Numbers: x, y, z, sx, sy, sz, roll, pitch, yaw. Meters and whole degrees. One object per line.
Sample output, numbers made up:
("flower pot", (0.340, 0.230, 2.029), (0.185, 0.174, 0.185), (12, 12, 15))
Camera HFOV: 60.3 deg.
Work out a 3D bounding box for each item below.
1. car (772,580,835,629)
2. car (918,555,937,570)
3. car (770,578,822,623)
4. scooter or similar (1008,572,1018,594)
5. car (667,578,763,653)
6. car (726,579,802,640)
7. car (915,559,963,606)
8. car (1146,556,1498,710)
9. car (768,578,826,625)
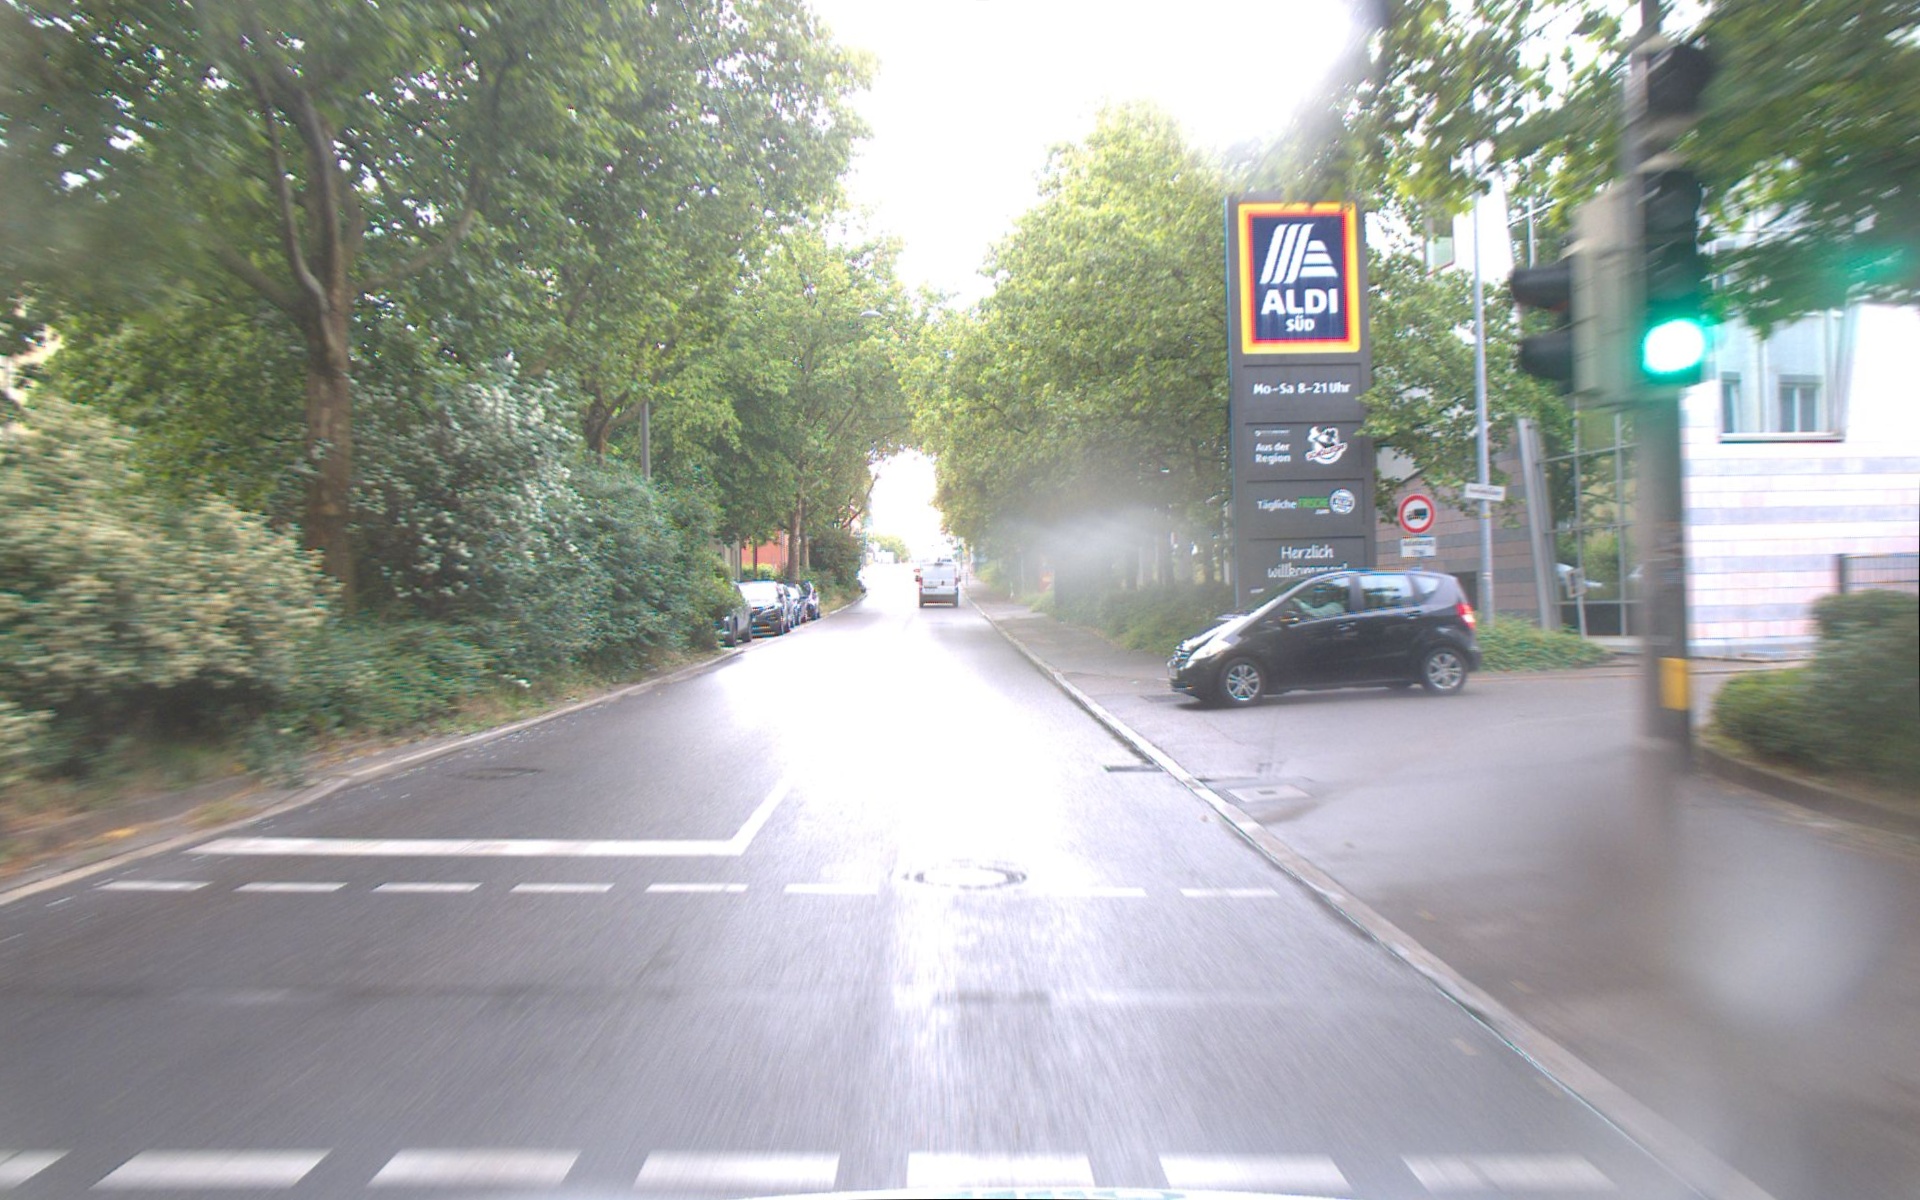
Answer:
("car", (-5.092, 0.126, 54.267), (1.637, 1.534, 4.124), (0, 1, 1))
("car", (-4.186, -4.779, 211.926), (2.114, 1.739, 3.874), (1, -1, 3))
("car", (-6.429, -0.012, 65.199), (1.615, 1.564, 4.017), (-5, 1, -1))
("scooter or similar", (2.867, -0.921, 90.151), (0.417, 1.162, 1.528), (1, -1, -3))
("car", (-6.409, 0.360, 43.682), (1.699, 1.686, 4.565), (-5, 1, 0))
("car", (-5.788, 0.231, 49.166), (1.827, 1.618, 4.237), (-4, 1, -2))
("car", (-1.055, -0.876, 84.803), (2.288, 2.270, 4.000), (-2, 0, 0))
("car", (4.446, 0.375, 20.670), (3.776, 1.574, 2.023), (-4, 1, -7))
("car", (-5.789, 0.020, 59.148), (1.638, 1.534, 3.874), (3, 1, 0))
